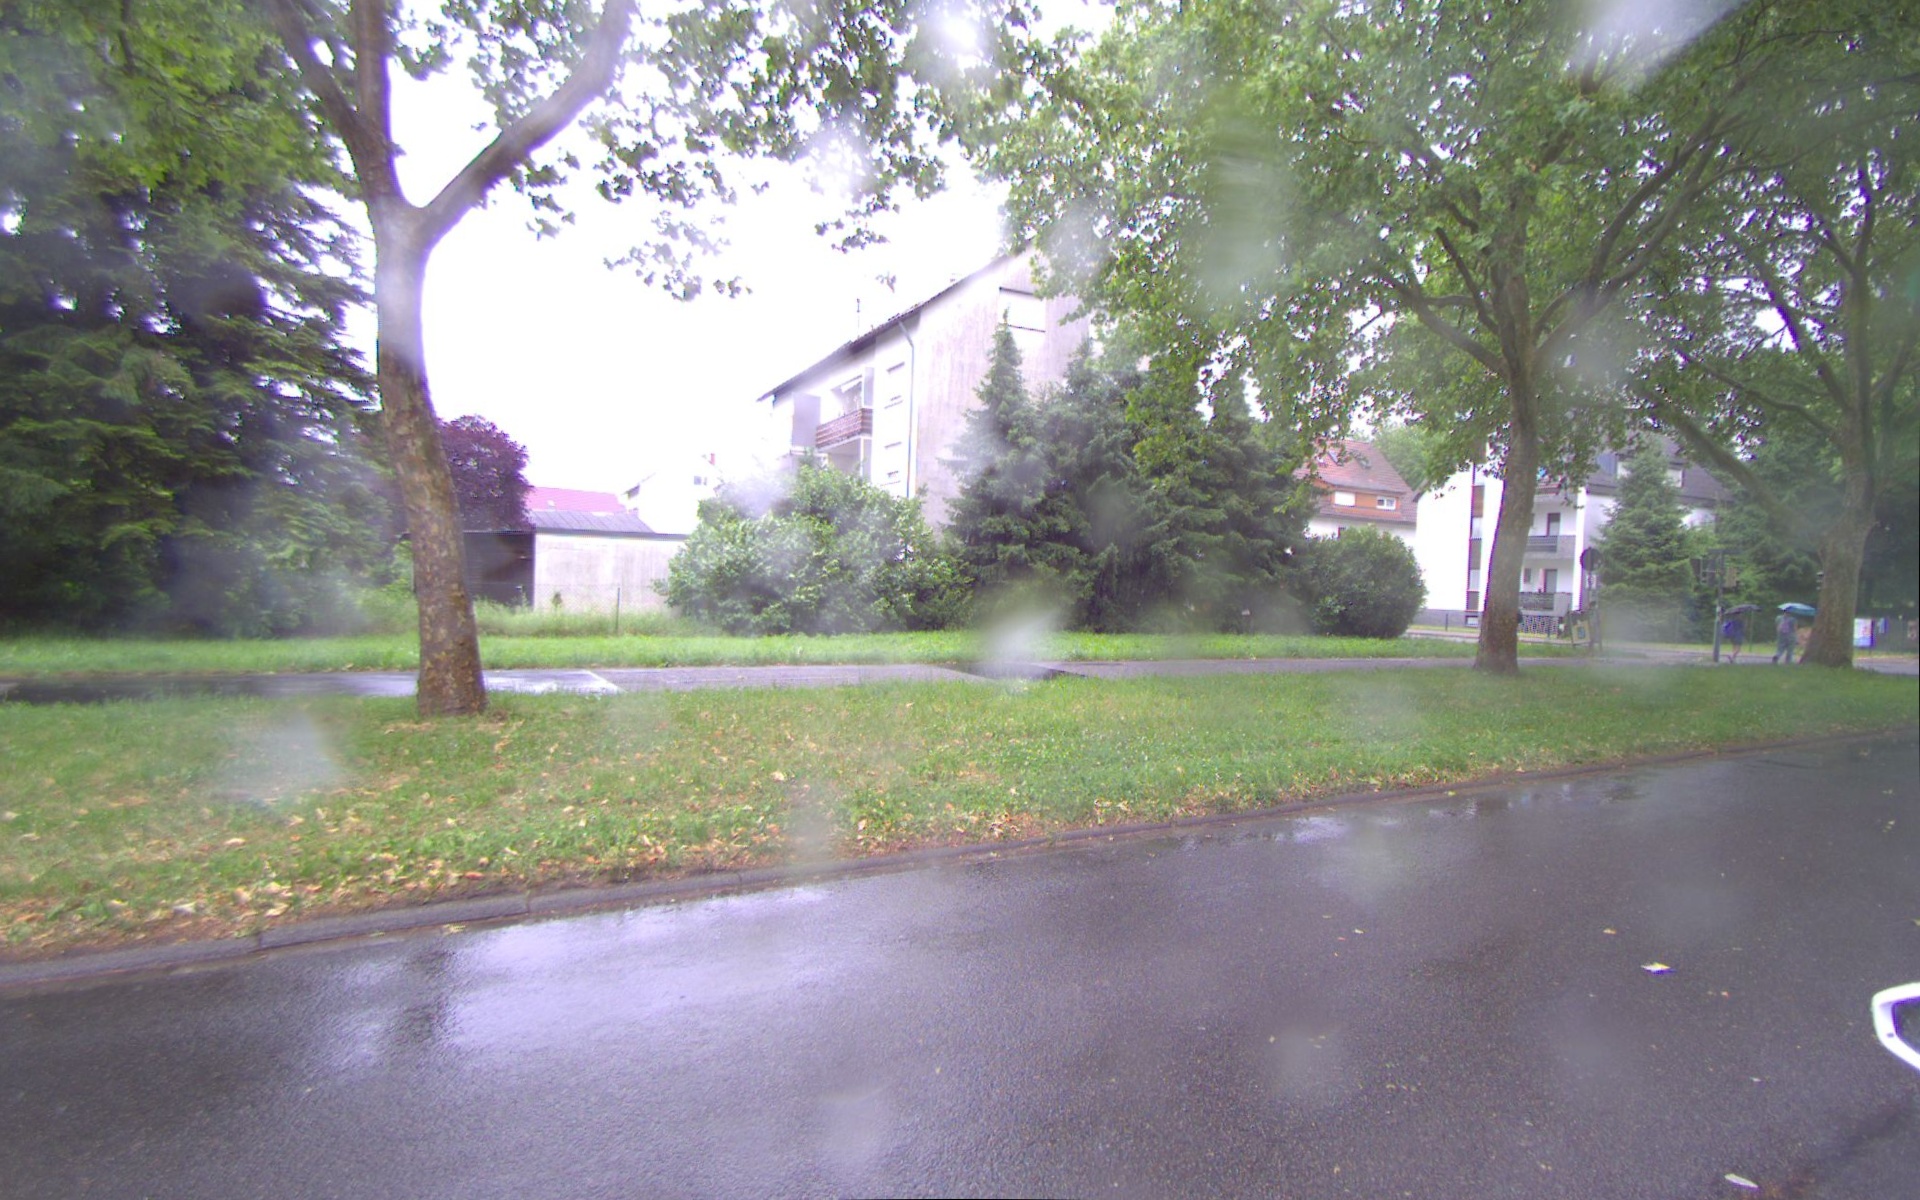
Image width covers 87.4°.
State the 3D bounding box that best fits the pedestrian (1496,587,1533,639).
[{"bbox_3d":[19.124,0.436,34.643,0.633,1.768,0.854,1,1,-33],"label":"pedestrian"}]

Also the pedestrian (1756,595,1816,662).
[{"bbox_3d":[23.047,0.783,28.029,0.828,1.789,1.028,1,1,-30],"label":"pedestrian"}]

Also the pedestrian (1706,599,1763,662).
[{"bbox_3d":[22.417,0.868,29.083,0.869,1.789,1.028,1,1,-30],"label":"pedestrian"}]

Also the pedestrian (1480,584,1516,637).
[{"bbox_3d":[18.364,0.366,34.269,0.633,1.768,0.815,1,1,-33],"label":"pedestrian"}]
